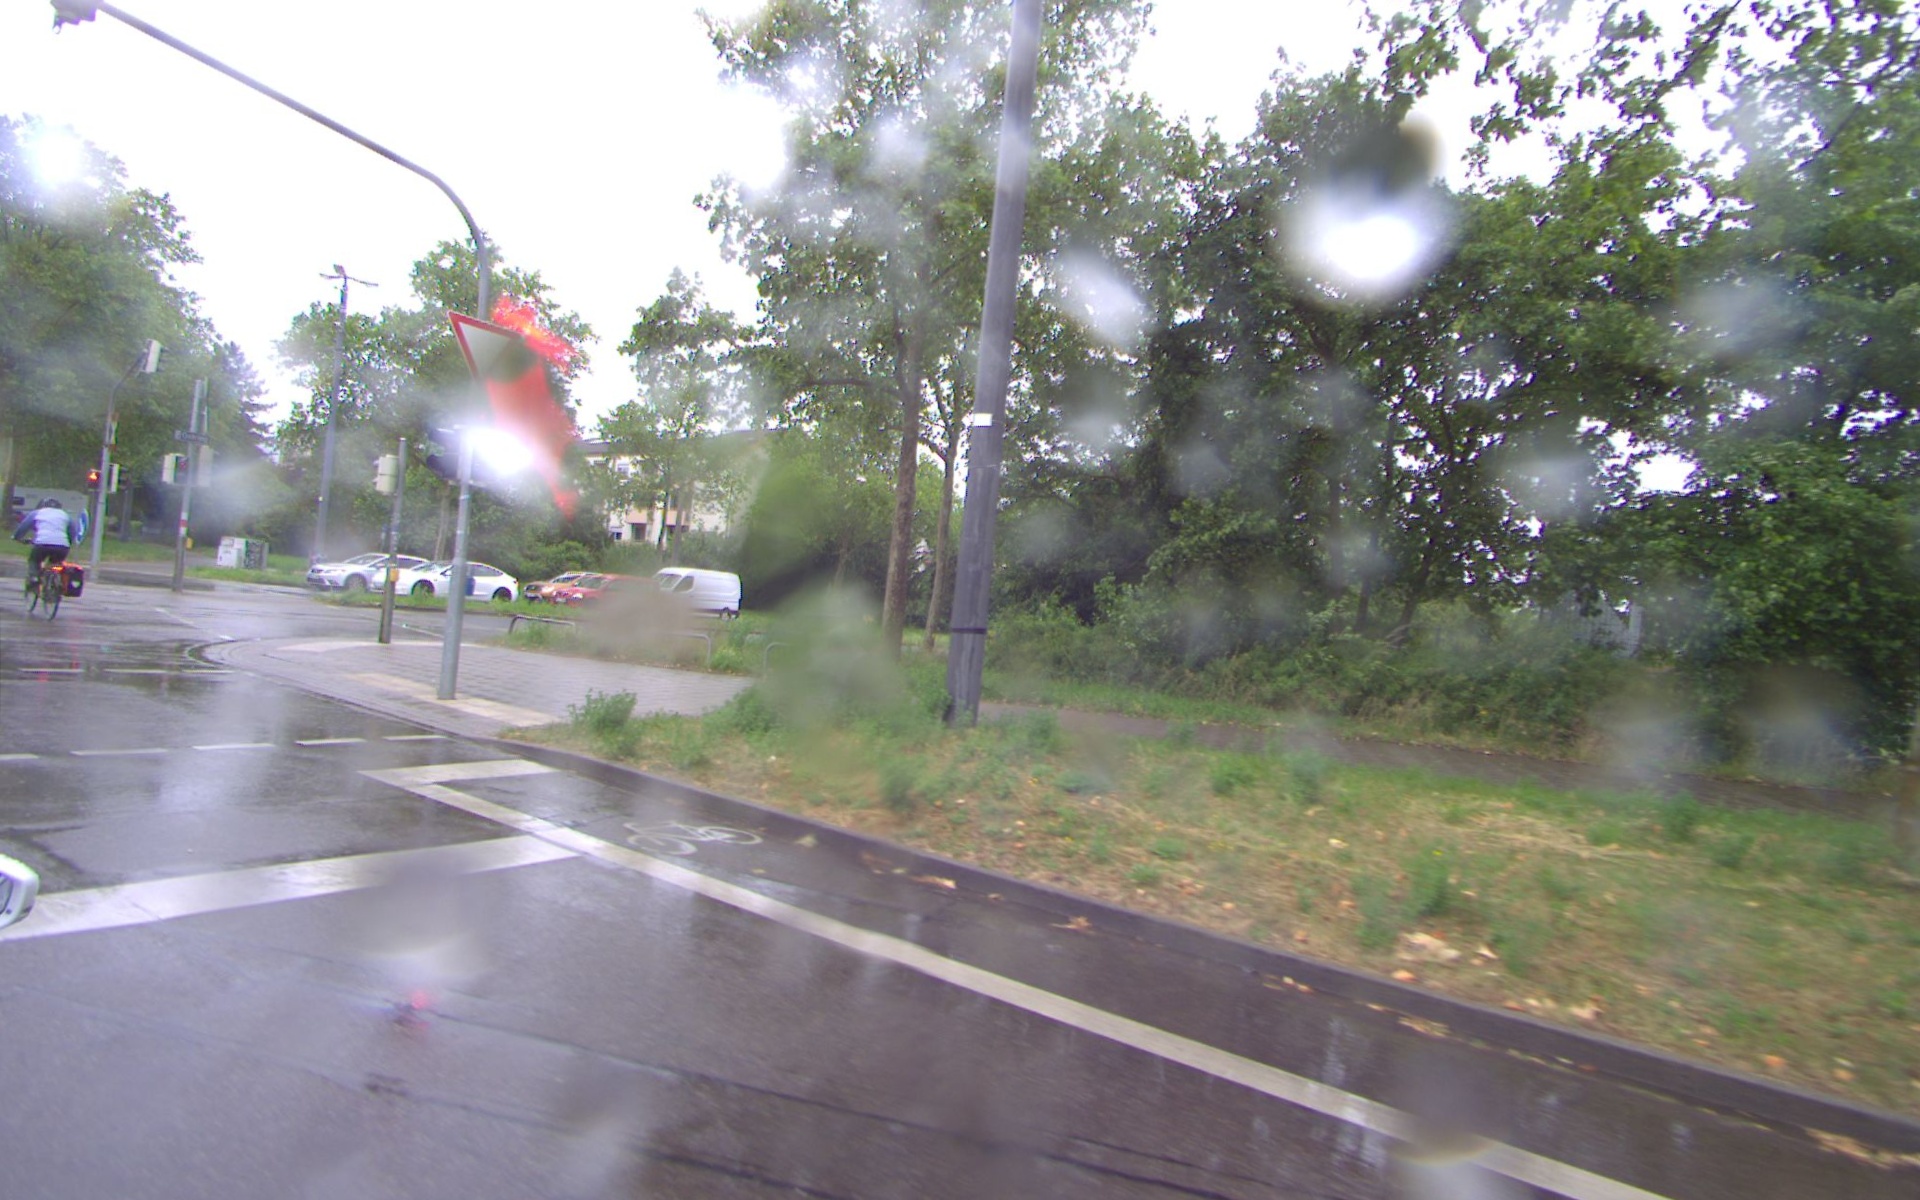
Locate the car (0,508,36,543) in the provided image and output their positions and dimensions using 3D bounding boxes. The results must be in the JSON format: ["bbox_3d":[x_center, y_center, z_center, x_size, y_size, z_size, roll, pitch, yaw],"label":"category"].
[{"bbox_3d":[-55.425,-4.443,56.825,4.423,1.736,1.980,9,-3,-38],"label":"car"}]

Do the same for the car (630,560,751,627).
[{"bbox_3d":[-12.573,-0.241,47.387,1.966,2.419,5.619,6,-2,28],"label":"car"}]

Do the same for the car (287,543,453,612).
[{"bbox_3d":[-19.831,-0.706,34.044,1.900,1.710,4.407,6,-2,26],"label":"car"}]

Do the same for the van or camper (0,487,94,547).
[{"bbox_3d":[-62.969,-5.695,67.111,7.388,3.215,3.231,9,-2,-36],"label":"van or camper"}]

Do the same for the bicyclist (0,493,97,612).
[{"bbox_3d":[-12.674,-0.652,13.955,0.830,1.523,0.692,5,-1,29],"label":"bicyclist"}]

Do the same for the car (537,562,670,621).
[{"bbox_3d":[-13.476,-0.289,38.318,1.760,1.625,4.615,6,-3,29],"label":"car"}]

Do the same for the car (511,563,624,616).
[{"bbox_3d":[-16.027,-0.384,41.296,1.759,1.625,4.069,6,-2,26],"label":"car"}]

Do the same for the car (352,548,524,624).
[{"bbox_3d":[-16.793,-0.397,32.662,1.900,1.849,4.608,6,-2,26],"label":"car"}]

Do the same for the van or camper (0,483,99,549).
[{"bbox_3d":[-56.611,-5.222,60.323,7.296,3.215,3.227,9,-3,-41],"label":"van or camper"}]

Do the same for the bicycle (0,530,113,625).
[{"bbox_3d":[-12.605,-0.327,13.896,1.853,1.130,0.692,5,-2,29],"label":"bicycle"}]
